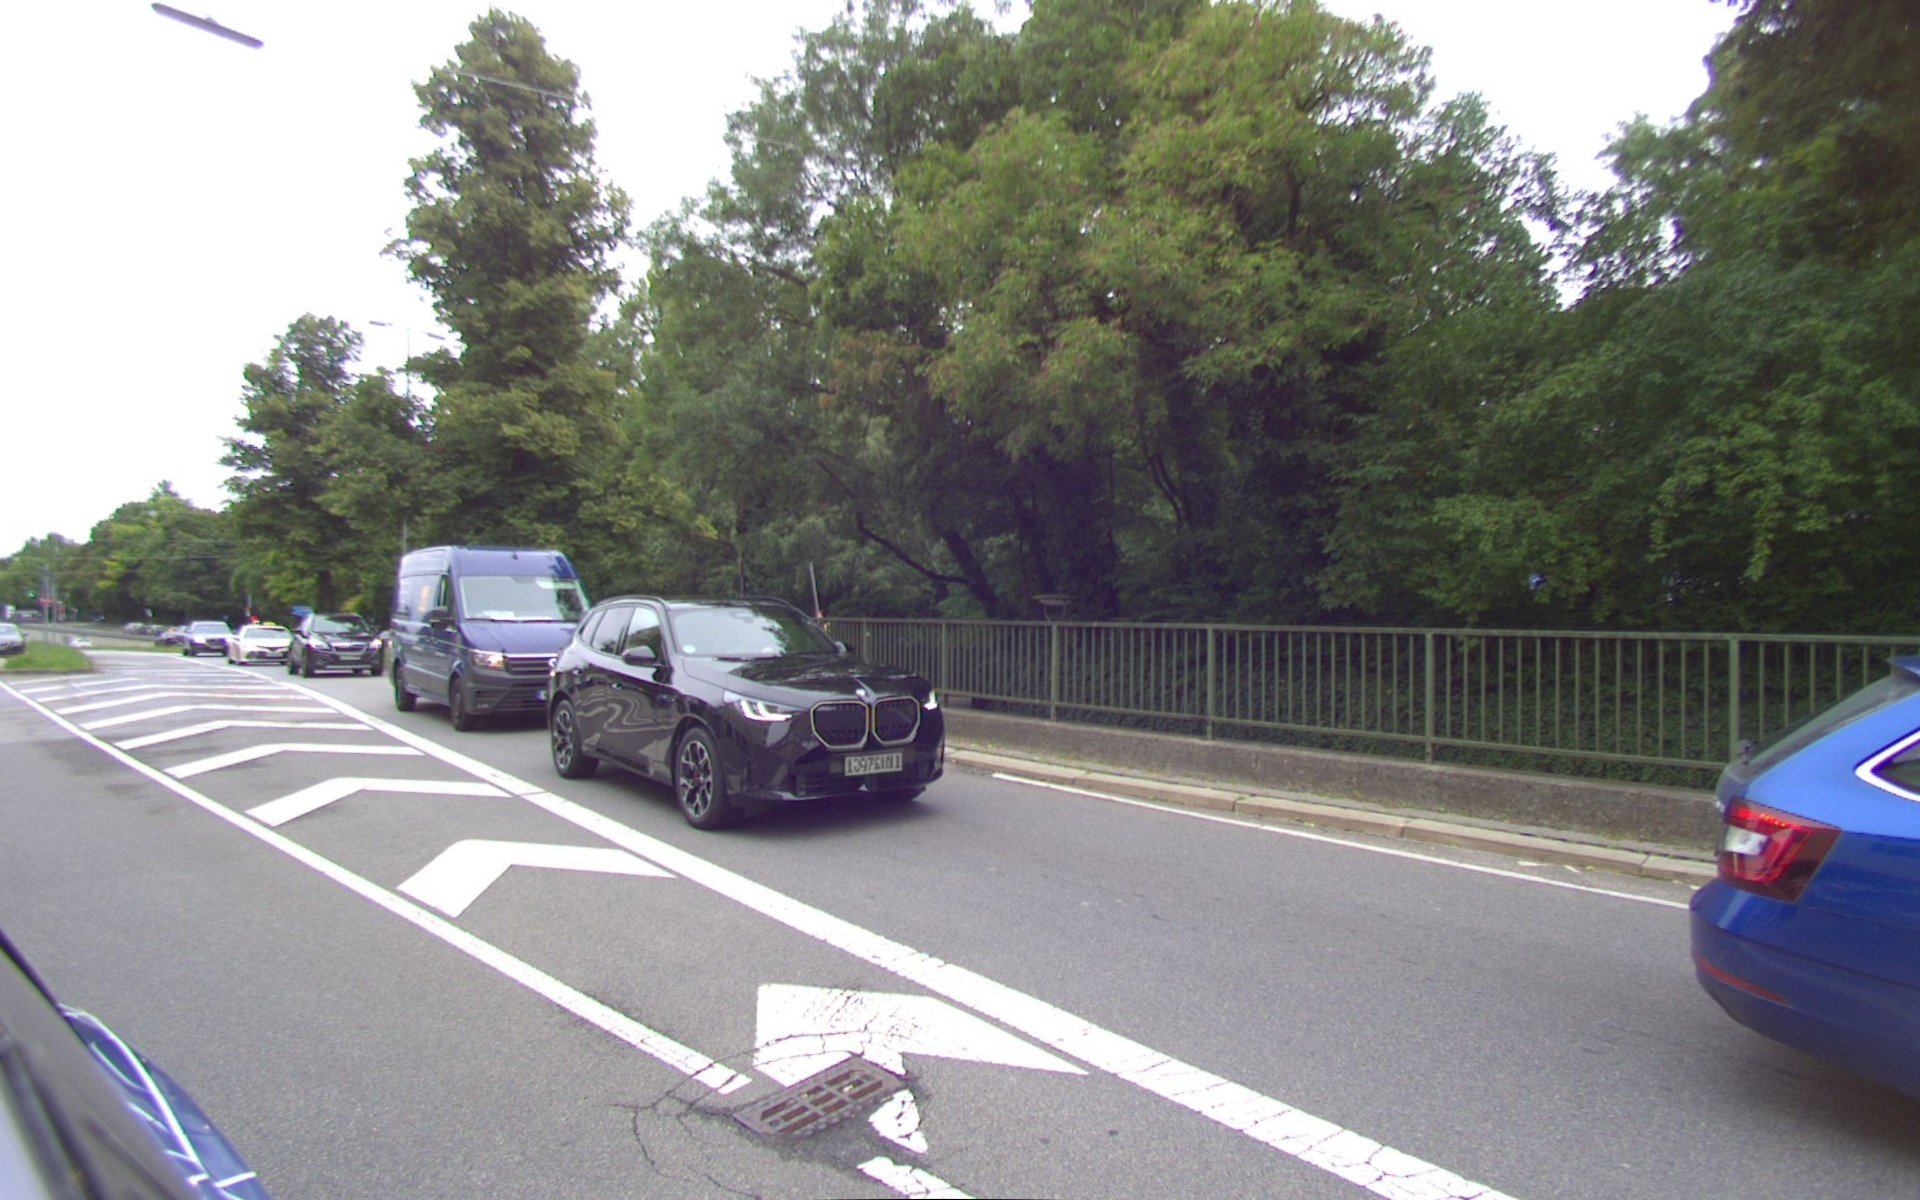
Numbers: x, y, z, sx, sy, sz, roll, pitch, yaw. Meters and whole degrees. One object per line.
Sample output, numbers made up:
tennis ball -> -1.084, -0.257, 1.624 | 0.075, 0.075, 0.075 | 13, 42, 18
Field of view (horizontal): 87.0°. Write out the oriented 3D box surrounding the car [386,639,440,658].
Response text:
car -> -42.592, 3.757, 78.781 | 4.518, 1.457, 1.975 | -2, -3, 38

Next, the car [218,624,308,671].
car -> -25.313, 1.686, 36.698 | 1.964, 1.577, 4.658 | 2, -3, -44

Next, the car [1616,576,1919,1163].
car -> 4.256, 0.651, 1.866 | 1.962, 1.465, 4.742 | 2, -2, -40

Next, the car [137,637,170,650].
car -> -90.773, 4.852, 113.941 | 4.025, 1.457, 1.874 | -2, -3, 36

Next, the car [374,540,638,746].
car -> -7.028, 0.561, 15.211 | 2.156, 2.482, 5.862 | 1, -1, -39

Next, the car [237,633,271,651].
car -> -72.725, 4.301, 104.210 | 3.998, 1.759, 1.973 | -1, -2, 41

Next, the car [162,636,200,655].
car -> -66.144, 3.853, 85.900 | 3.998, 1.570, 1.841 | -2, -2, 41

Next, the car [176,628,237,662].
car -> -36.593, 2.144, 49.089 | 1.963, 1.577, 4.278 | 2, -2, -42

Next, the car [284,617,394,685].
car -> -16.547, 1.308, 26.889 | 1.962, 1.640, 4.281 | 1, -2, -39

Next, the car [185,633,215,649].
car -> -86.601, 4.661, 115.304 | 3.998, 1.759, 1.842 | -1, -2, 41

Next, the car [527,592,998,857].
car -> -1.982, 0.806, 8.602 | 1.889, 1.598, 4.839 | 0, -2, -39

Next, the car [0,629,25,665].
car -> -43.067, 2.066, 45.168 | 1.876, 1.577, 4.775 | 2, -3, -43

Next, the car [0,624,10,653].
car -> -54.306, 2.125, 56.303 | 4.285, 1.577, 1.964 | -2, -3, 45

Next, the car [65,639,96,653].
car -> -97.736, 5.093, 112.422 | 4.231, 1.457, 1.809 | -2, -3, 39

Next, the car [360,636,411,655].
car -> -46.506, 3.665, 81.911 | 4.518, 1.457, 1.975 | -2, -3, 38
